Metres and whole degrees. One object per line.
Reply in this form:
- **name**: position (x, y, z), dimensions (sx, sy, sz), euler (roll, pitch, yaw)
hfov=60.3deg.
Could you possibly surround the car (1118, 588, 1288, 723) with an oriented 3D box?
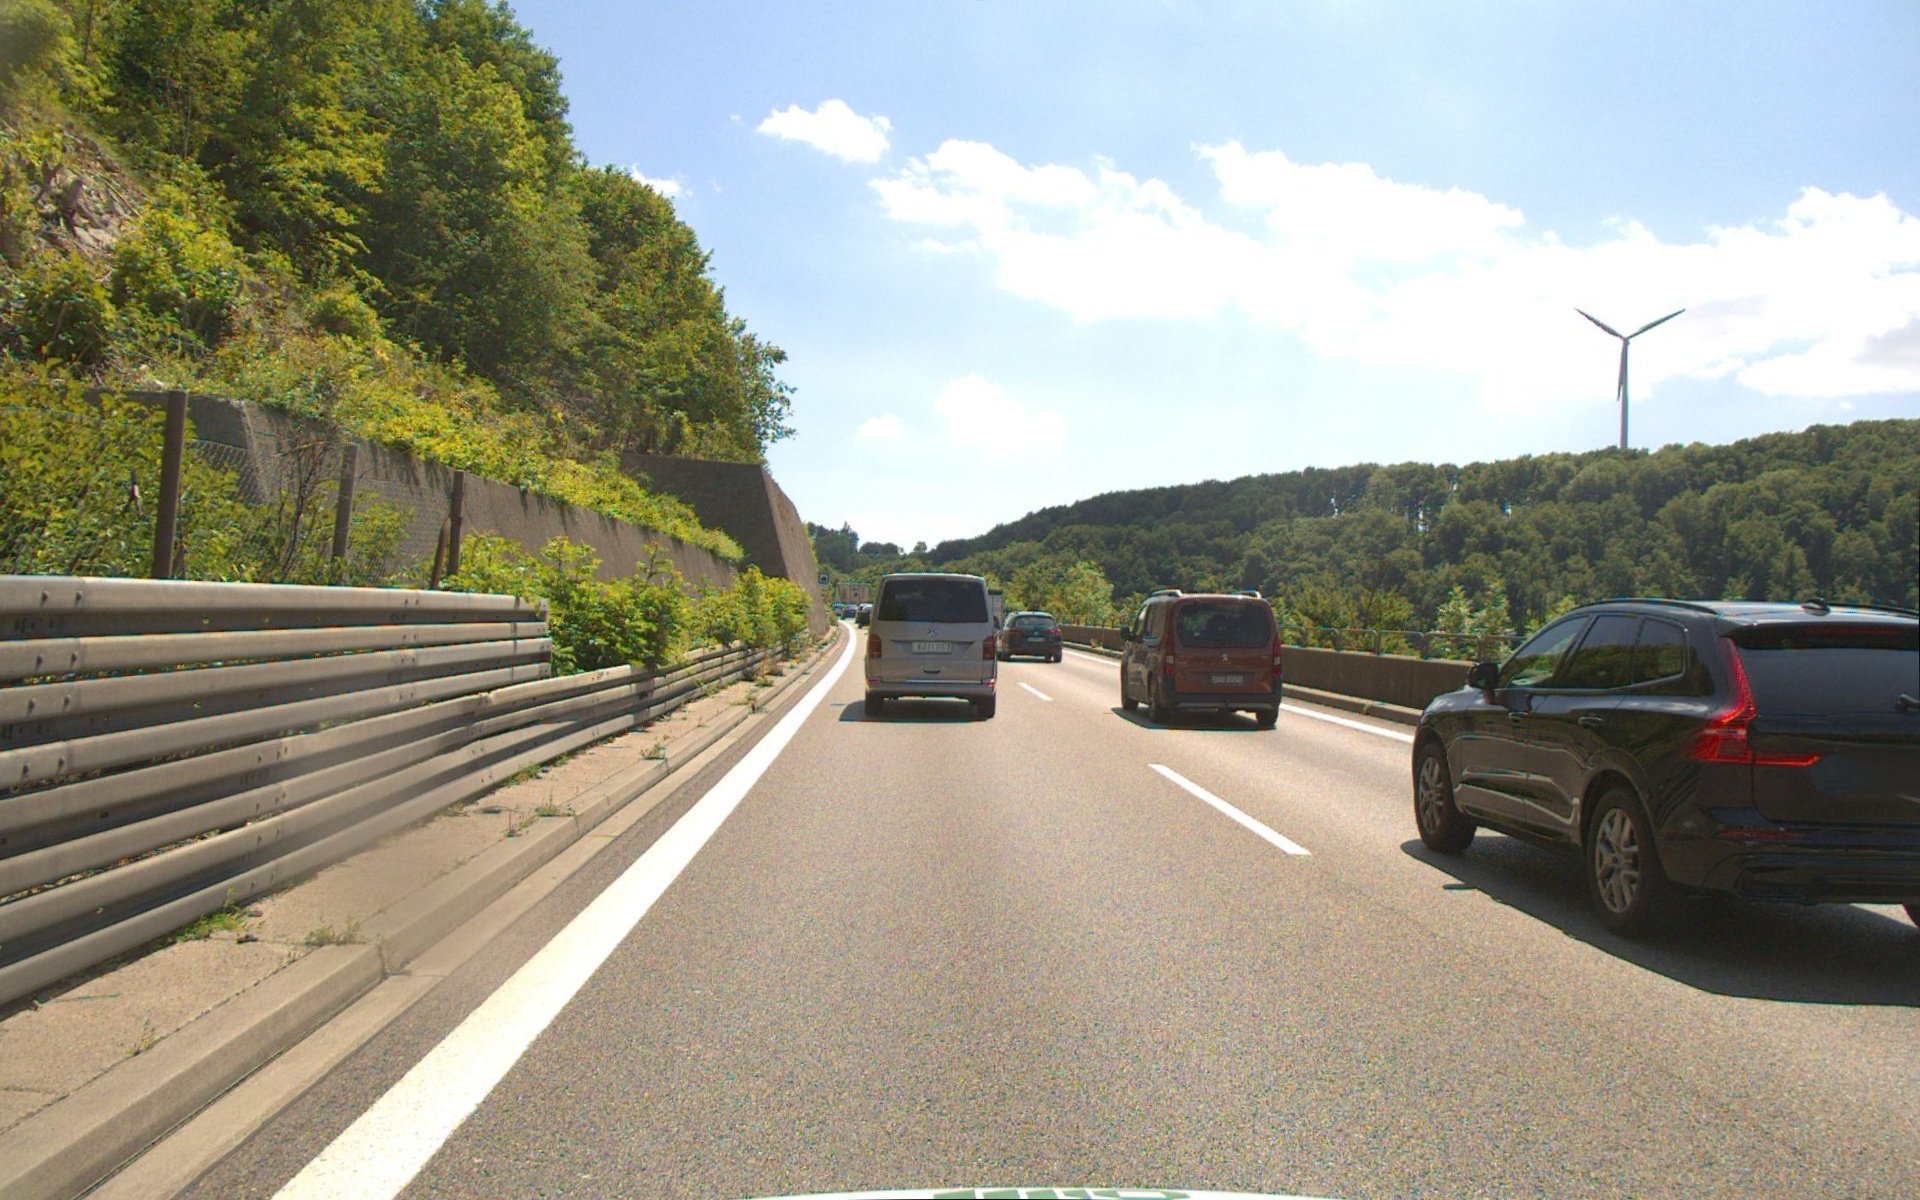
- **car**: position (3.484, 0.779, 24.524), dimensions (1.796, 1.815, 4.675), euler (0, -1, -1)

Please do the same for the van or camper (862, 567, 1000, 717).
- **van or camper**: position (-0.441, 0.597, 24.391), dimensions (1.838, 1.984, 4.292), euler (1, -1, -1)

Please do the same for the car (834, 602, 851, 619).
- **car**: position (-12.911, 1.151, 182.319), dimensions (1.809, 1.780, 3.997), euler (1, 0, -3)

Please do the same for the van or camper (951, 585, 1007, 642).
- **van or camper**: position (0.863, 0.645, 78.013), dimensions (2.219, 2.596, 4.732), euler (0, 0, -4)

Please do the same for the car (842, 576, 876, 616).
- **car**: position (-12.997, -0.476, 212.426), dimensions (3.965, 4.957, 10.097), euler (1, 0, -5)

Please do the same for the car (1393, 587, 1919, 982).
- **car**: position (4.035, 0.789, 9.338), dimensions (1.798, 1.662, 4.660), euler (0, 0, -2)

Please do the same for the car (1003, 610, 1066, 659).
- **car**: position (2.284, 1.021, 49.872), dimensions (1.731, 1.400, 3.594), euler (1, 0, 5)

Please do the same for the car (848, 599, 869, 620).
- **car**: position (-10.053, 0.952, 164.583), dimensions (1.953, 2.049, 3.998), euler (0, -1, -2)

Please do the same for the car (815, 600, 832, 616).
- **car**: position (-16.872, 0.935, 204.461), dimensions (1.811, 1.779, 3.995), euler (-6, 0, -6)

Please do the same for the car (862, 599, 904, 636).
- **car**: position (-4.071, 0.895, 87.155), dimensions (1.955, 1.849, 3.995), euler (1, 0, -6)

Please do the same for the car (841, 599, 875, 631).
- **car**: position (-6.372, 0.935, 103.460), dimensions (1.953, 1.948, 3.998), euler (1, 0, -2)

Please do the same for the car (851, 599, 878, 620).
- **car**: position (-7.658, 0.745, 133.448), dimensions (2.100, 1.635, 5.075), euler (1, 0, -3)
